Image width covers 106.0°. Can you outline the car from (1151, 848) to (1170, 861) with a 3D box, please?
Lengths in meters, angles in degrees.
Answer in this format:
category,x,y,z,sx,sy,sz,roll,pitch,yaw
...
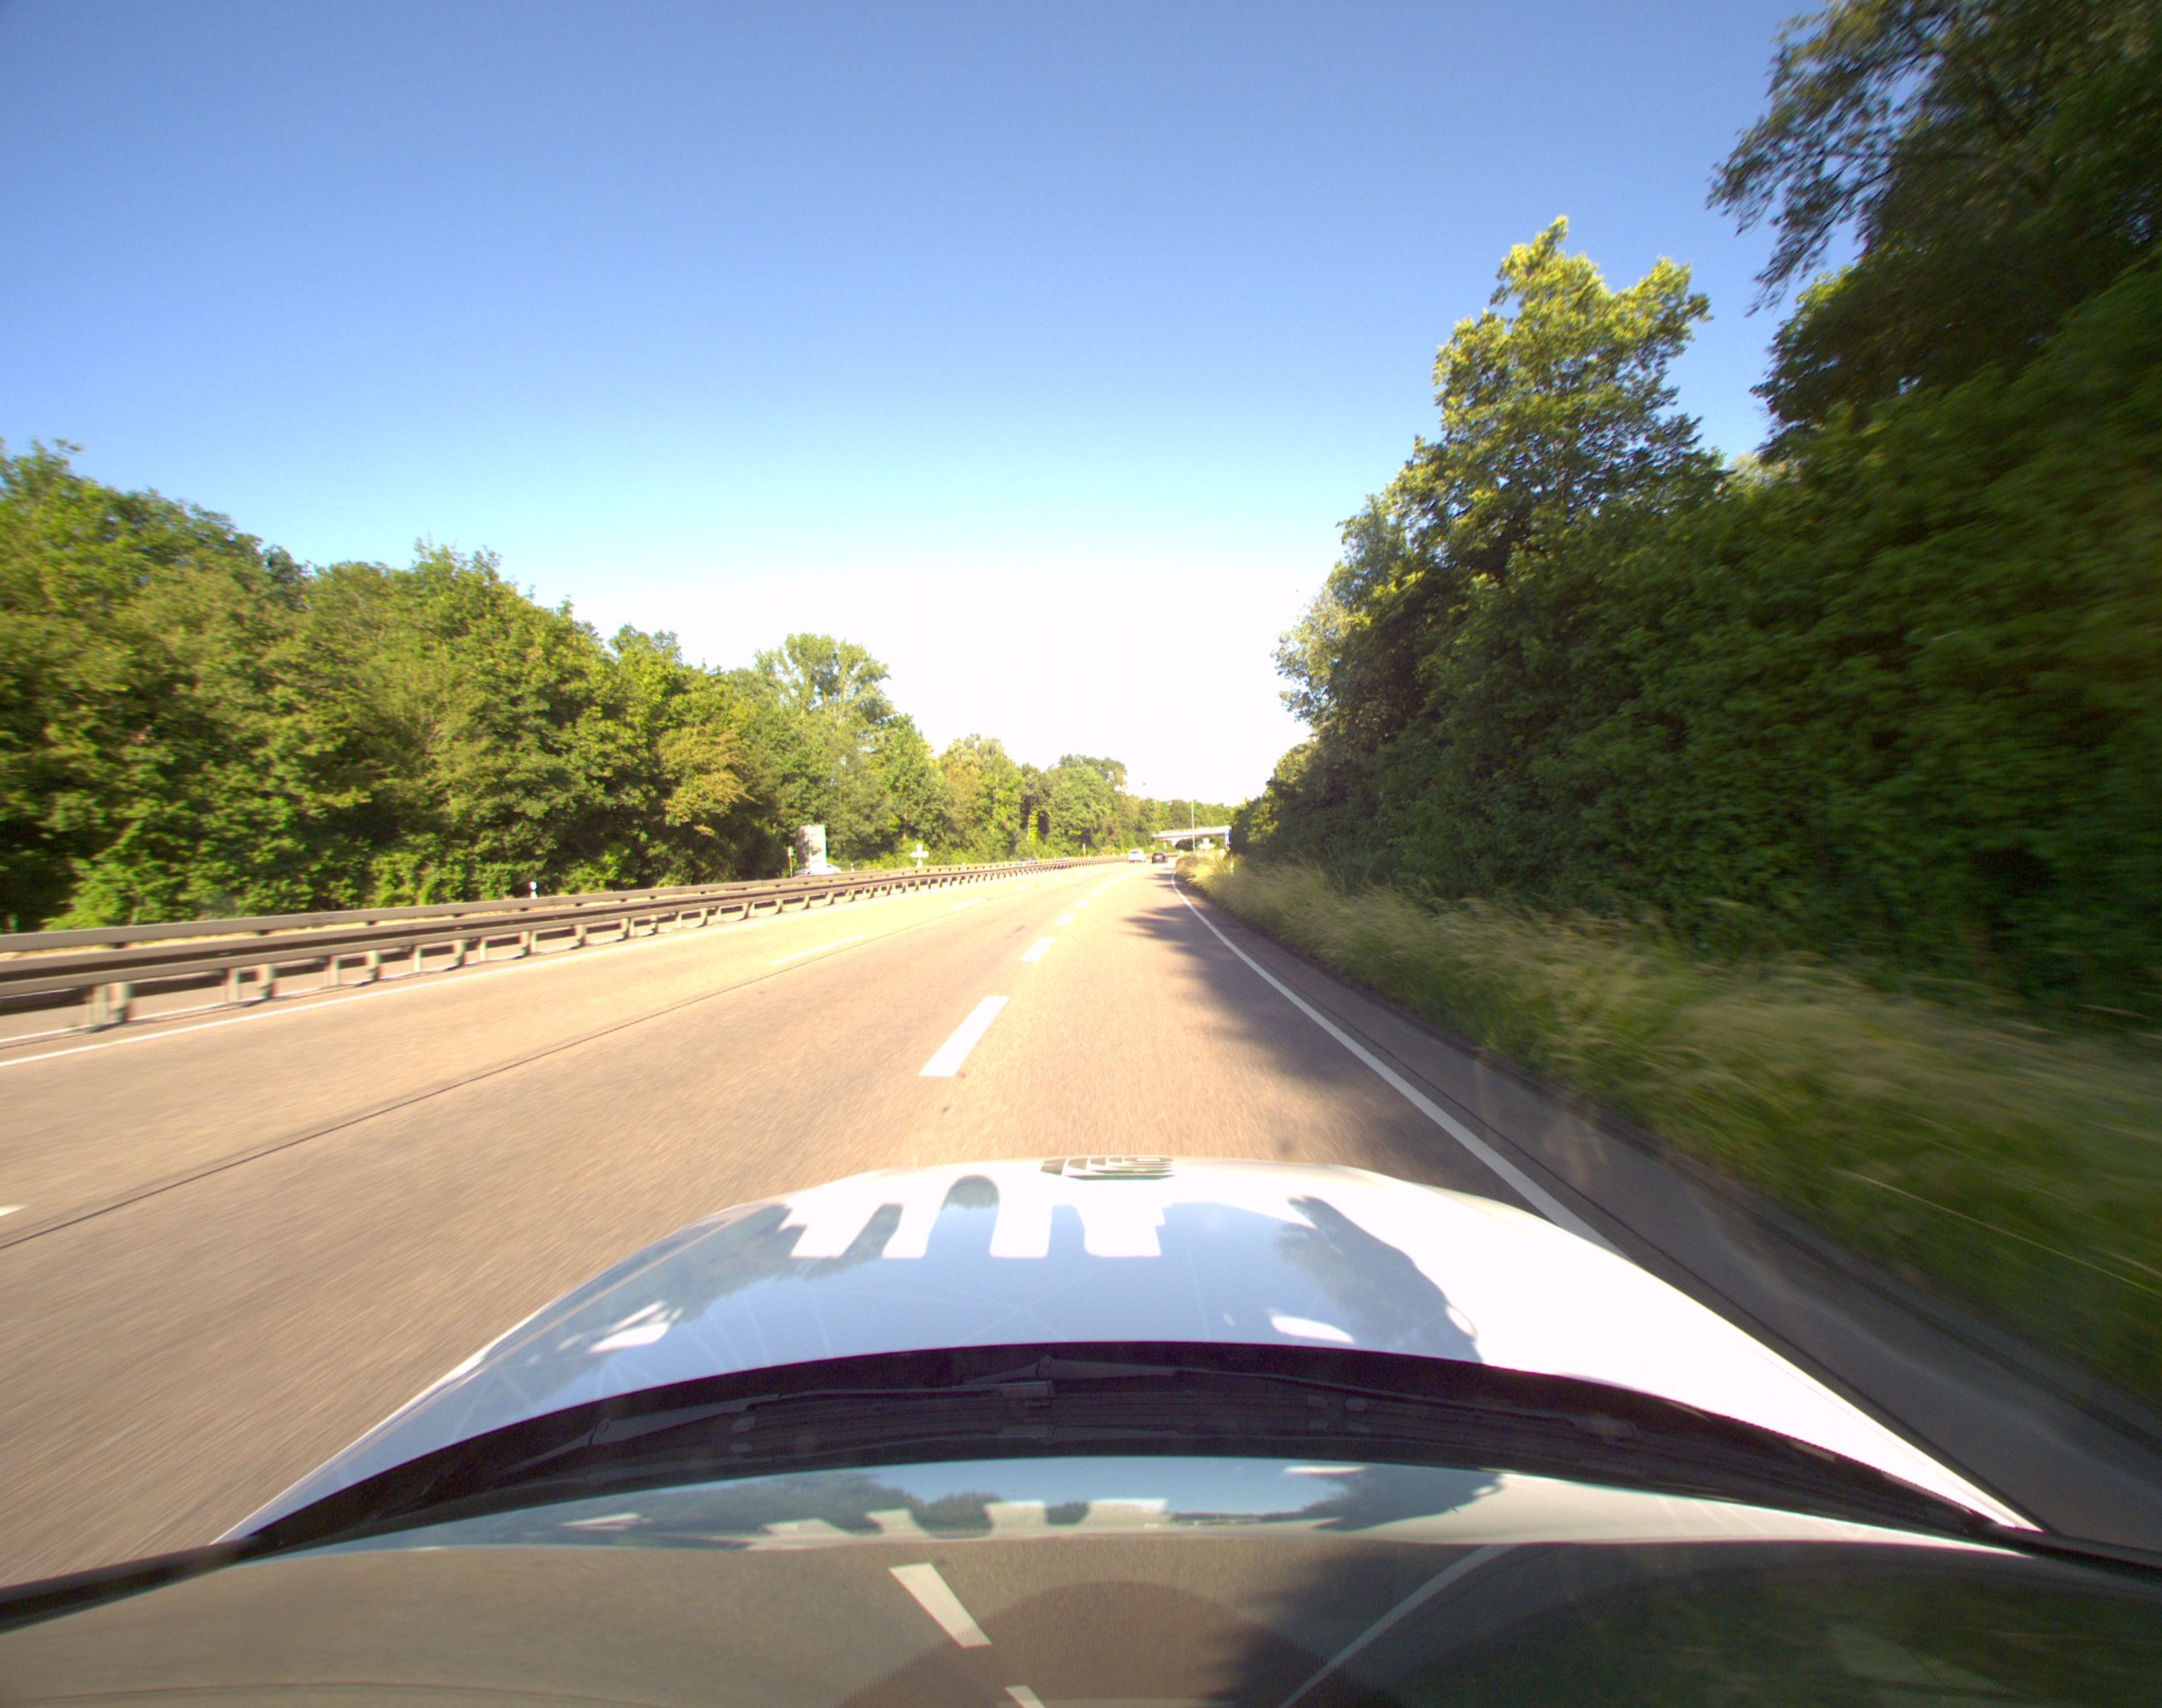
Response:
category,x,y,z,sx,sy,sz,roll,pitch,yaw
car,10.471,0.018,107.016,1.725,1.662,3.963,-2,0,17

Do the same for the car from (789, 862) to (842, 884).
category,x,y,z,sx,sy,sz,roll,pitch,yaw
car,-25.618,1.854,78.752,1.974,2.014,4.658,-2,-1,35

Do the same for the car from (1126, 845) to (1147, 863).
category,x,y,z,sx,sy,sz,roll,pitch,yaw
car,7.746,-0.018,113.087,1.978,2.277,4.017,-2,0,16
